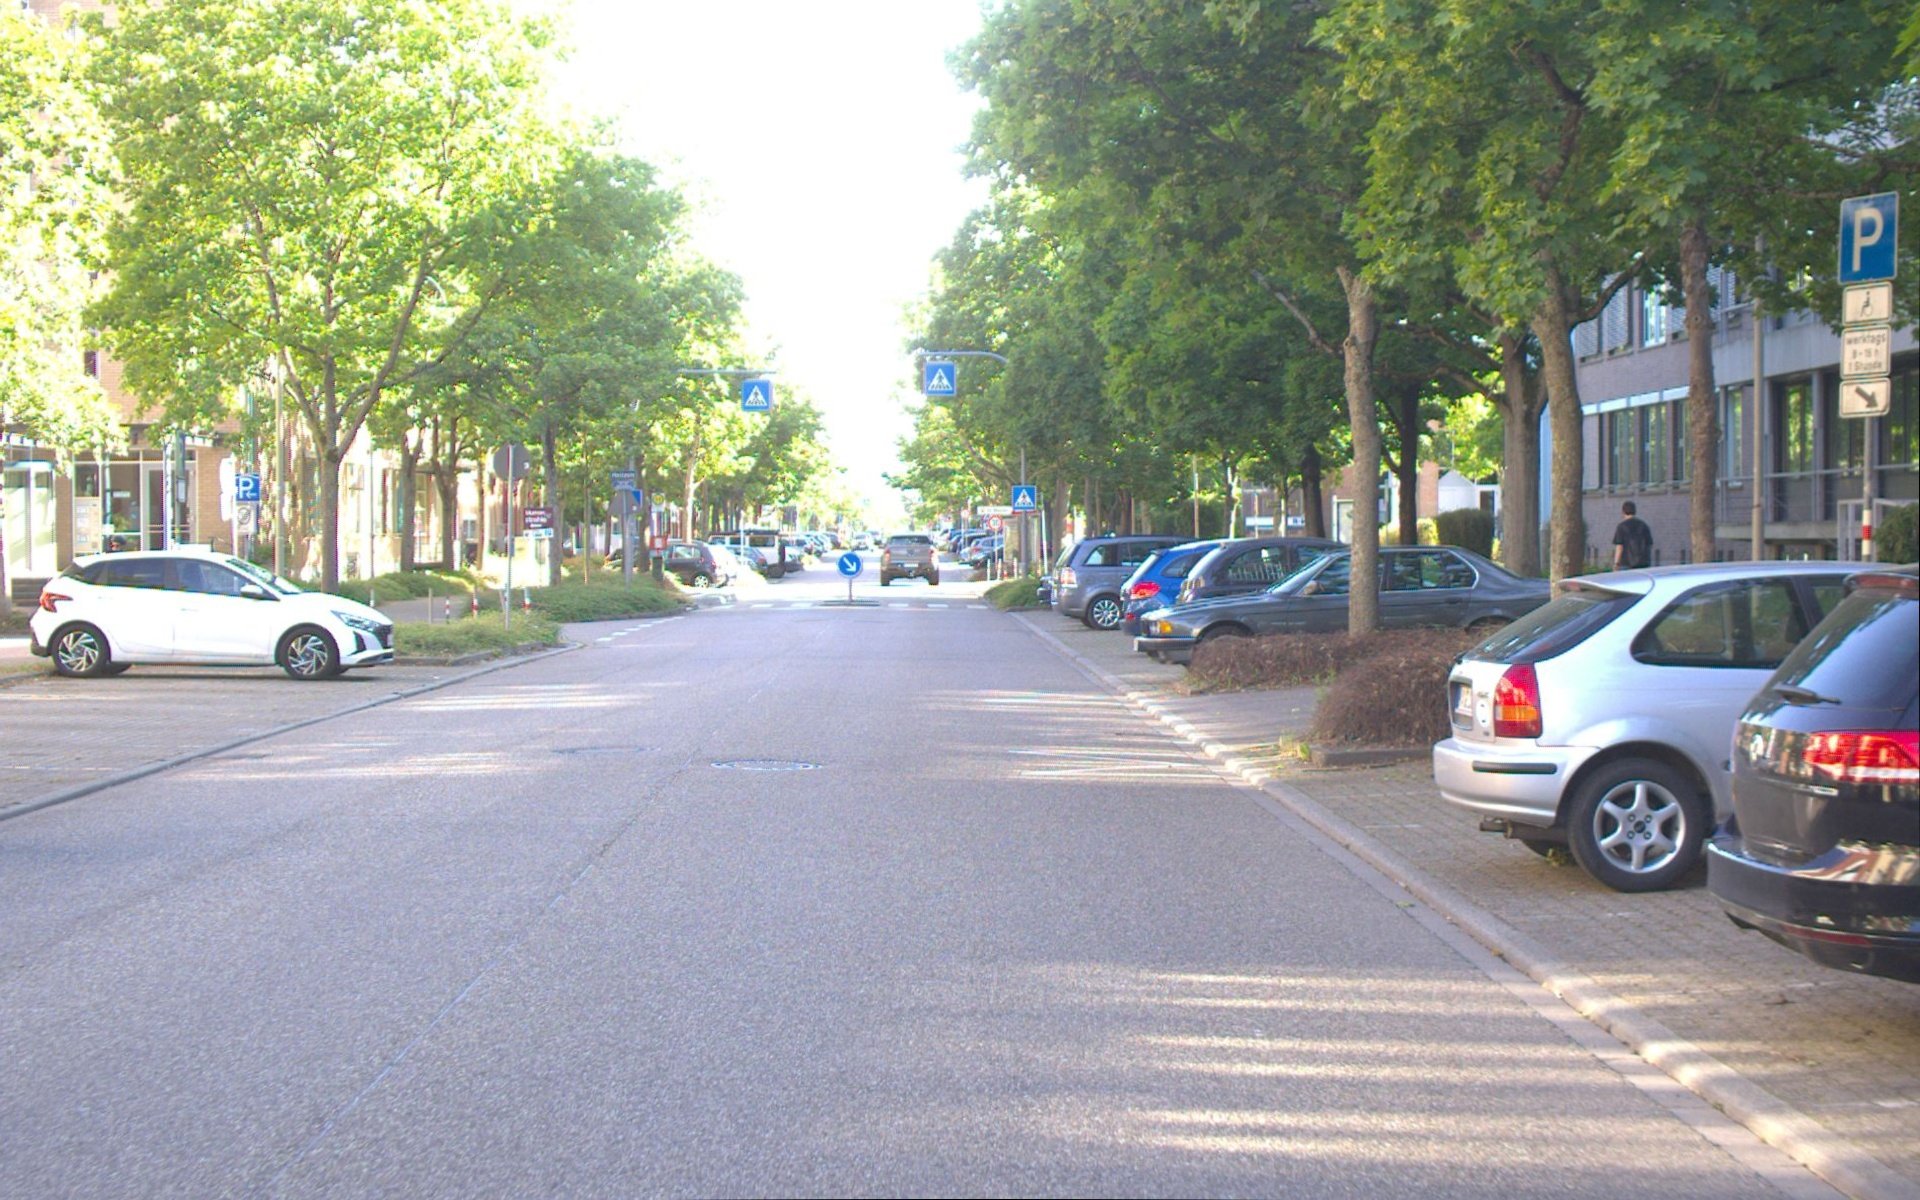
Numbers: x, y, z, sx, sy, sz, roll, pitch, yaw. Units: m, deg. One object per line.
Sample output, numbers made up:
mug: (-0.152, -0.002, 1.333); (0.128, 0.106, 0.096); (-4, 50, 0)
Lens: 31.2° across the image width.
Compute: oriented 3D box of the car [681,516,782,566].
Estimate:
car: (-9.606, -2.488, 144.771); (3.987, 2.007, 2.000); (-1, 1, 4)

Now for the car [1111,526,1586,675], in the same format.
car: (4.150, -0.013, 37.284); (4.824, 1.415, 2.032); (-2, 1, -2)

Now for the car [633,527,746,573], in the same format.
car: (-9.414, -1.741, 119.450); (3.847, 1.468, 1.813); (1, 1, -6)

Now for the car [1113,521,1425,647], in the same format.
car: (4.070, -0.223, 45.742); (3.949, 1.509, 1.813); (-2, 1, 1)

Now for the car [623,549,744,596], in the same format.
car: (-9.210, -0.926, 114.385); (3.847, 1.468, 1.813); (1, 1, -10)

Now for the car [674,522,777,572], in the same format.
car: (-9.643, -2.188, 141.604); (3.987, 2.007, 2.000); (-1, 1, 4)

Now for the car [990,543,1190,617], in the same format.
car: (2.827, -0.448, 75.352); (4.190, 1.468, 1.813); (-2, 1, -3)

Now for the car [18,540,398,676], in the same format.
car: (-8.586, 0.077, 39.476); (3.986, 1.481, 1.807); (1, 1, -1)

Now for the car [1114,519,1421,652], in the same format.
car: (3.823, -0.193, 43.241); (3.641, 1.509, 1.813); (-2, 1, 0)

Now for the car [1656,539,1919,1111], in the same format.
car: (4.548, 0.496, 10.063); (4.591, 1.488, 1.763); (-3, 1, 0)

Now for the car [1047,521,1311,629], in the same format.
car: (3.788, -0.451, 59.875); (4.350, 1.698, 1.813); (-2, 2, -3)

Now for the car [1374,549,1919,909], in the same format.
car: (3.971, 0.502, 15.272); (3.969, 1.415, 1.710); (-2, 1, -2)

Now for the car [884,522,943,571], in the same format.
car: (-1.616, -1.878, 120.365); (1.993, 1.634, 4.000); (1, 1, -1)

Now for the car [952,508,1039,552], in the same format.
car: (1.670, -3.326, 163.074); (3.986, 2.007, 2.000); (-1, 1, -2)

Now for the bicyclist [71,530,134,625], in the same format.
bicyclist: (-12.276, -0.330, 49.234); (0.605, 1.348, 0.913); (0, 1, 3)

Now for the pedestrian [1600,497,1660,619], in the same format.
pedestrian: (9.713, -0.605, 49.848); (0.607, 1.739, 1.191); (-1, 1, -1)
